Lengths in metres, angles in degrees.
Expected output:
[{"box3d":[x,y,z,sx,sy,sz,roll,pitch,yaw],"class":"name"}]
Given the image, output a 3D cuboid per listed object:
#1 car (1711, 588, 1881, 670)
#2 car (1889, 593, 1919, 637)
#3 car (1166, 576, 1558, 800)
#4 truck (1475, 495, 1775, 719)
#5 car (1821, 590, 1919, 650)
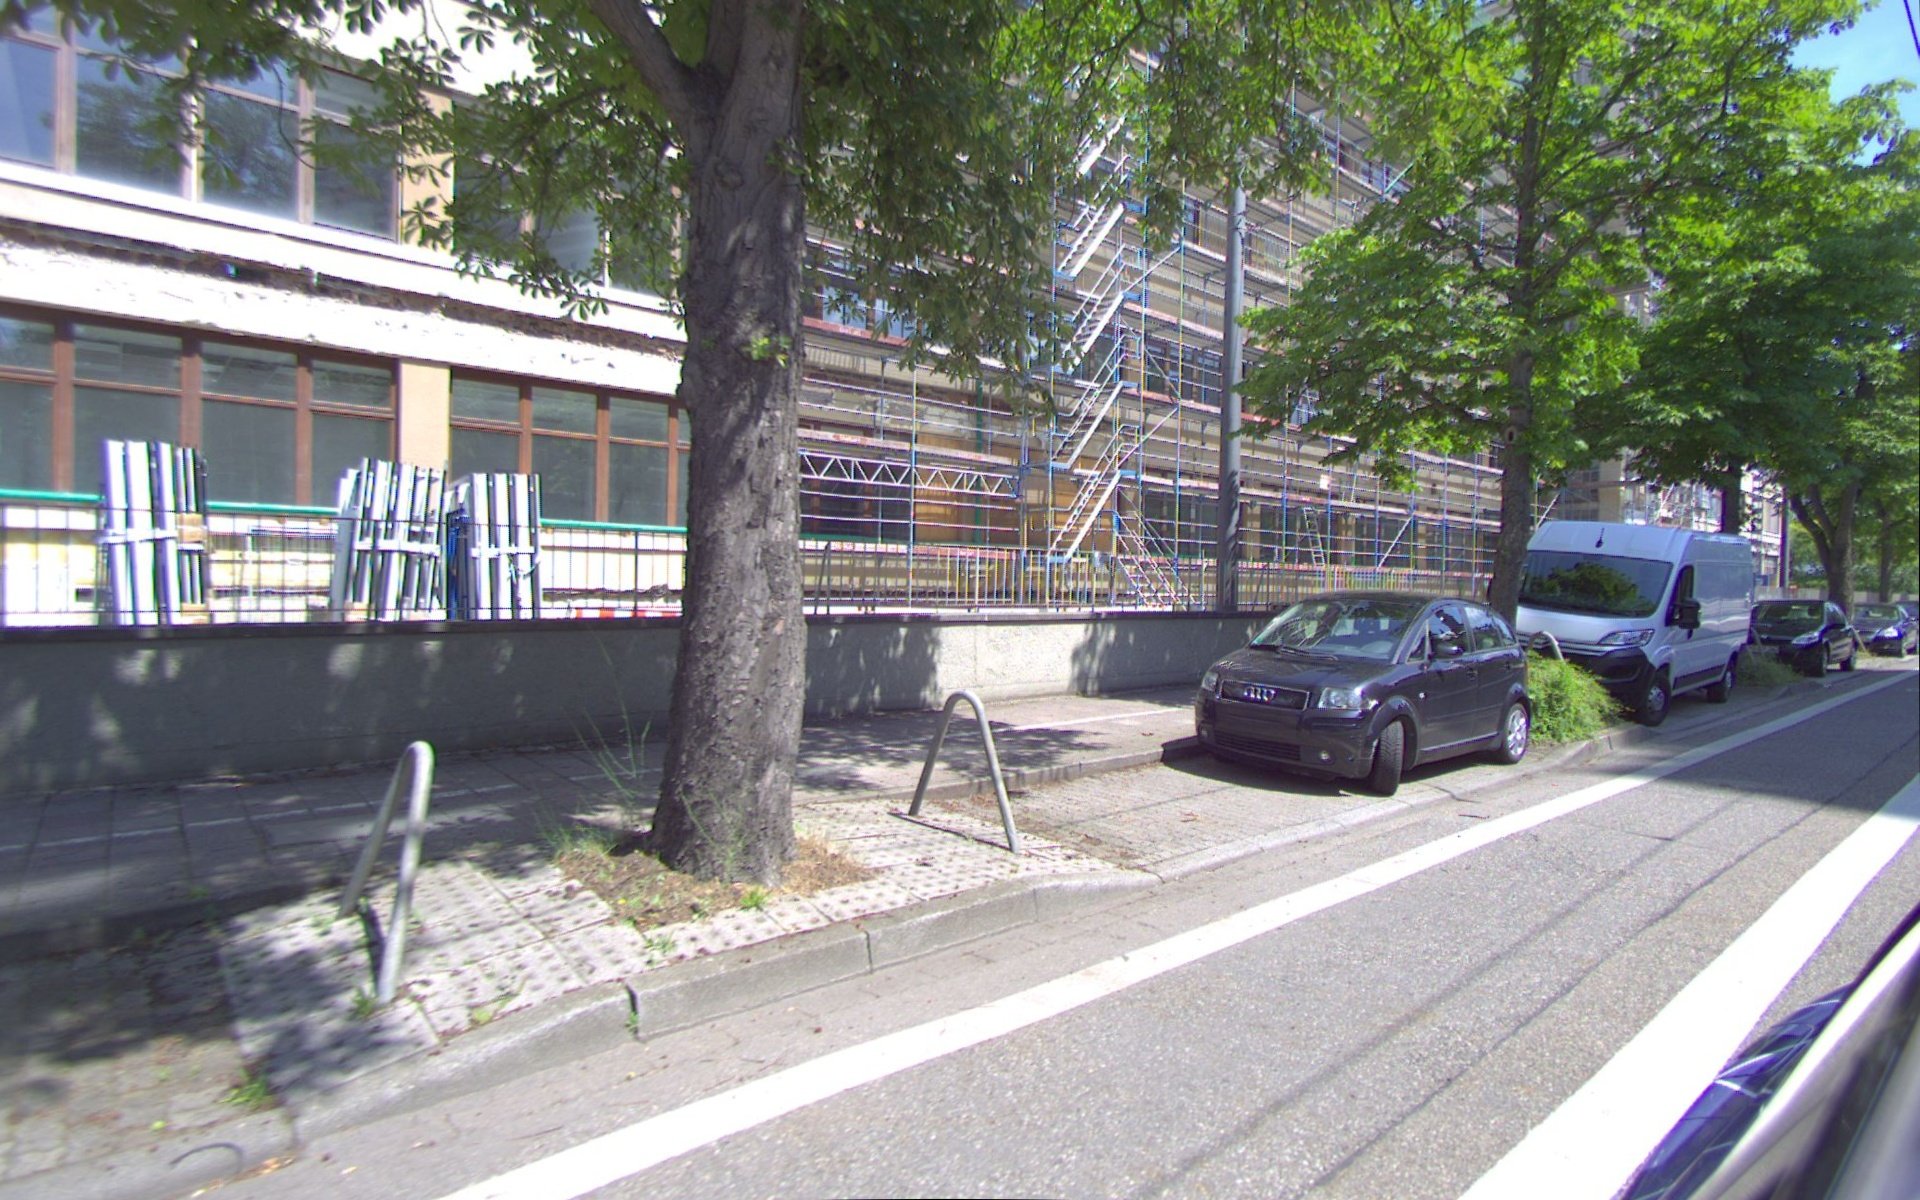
[{"box3d":[17.288,0.539,20.860,4.320,1.490,1.829,0,1,-38],"class":"car"},{"box3d":[32.984,0.509,34.422,3.972,1.456,1.674,0,1,-42],"class":"car"},{"box3d":[3.689,0.607,8.962,3.878,1.553,1.647,0,1,-41],"class":"car"},{"box3d":[9.409,0.069,14.058,5.852,2.520,2.018,0,1,-42],"class":"truck"},{"box3d":[25.350,0.511,27.805,4.406,1.490,1.828,0,1,-40],"class":"car"}]
